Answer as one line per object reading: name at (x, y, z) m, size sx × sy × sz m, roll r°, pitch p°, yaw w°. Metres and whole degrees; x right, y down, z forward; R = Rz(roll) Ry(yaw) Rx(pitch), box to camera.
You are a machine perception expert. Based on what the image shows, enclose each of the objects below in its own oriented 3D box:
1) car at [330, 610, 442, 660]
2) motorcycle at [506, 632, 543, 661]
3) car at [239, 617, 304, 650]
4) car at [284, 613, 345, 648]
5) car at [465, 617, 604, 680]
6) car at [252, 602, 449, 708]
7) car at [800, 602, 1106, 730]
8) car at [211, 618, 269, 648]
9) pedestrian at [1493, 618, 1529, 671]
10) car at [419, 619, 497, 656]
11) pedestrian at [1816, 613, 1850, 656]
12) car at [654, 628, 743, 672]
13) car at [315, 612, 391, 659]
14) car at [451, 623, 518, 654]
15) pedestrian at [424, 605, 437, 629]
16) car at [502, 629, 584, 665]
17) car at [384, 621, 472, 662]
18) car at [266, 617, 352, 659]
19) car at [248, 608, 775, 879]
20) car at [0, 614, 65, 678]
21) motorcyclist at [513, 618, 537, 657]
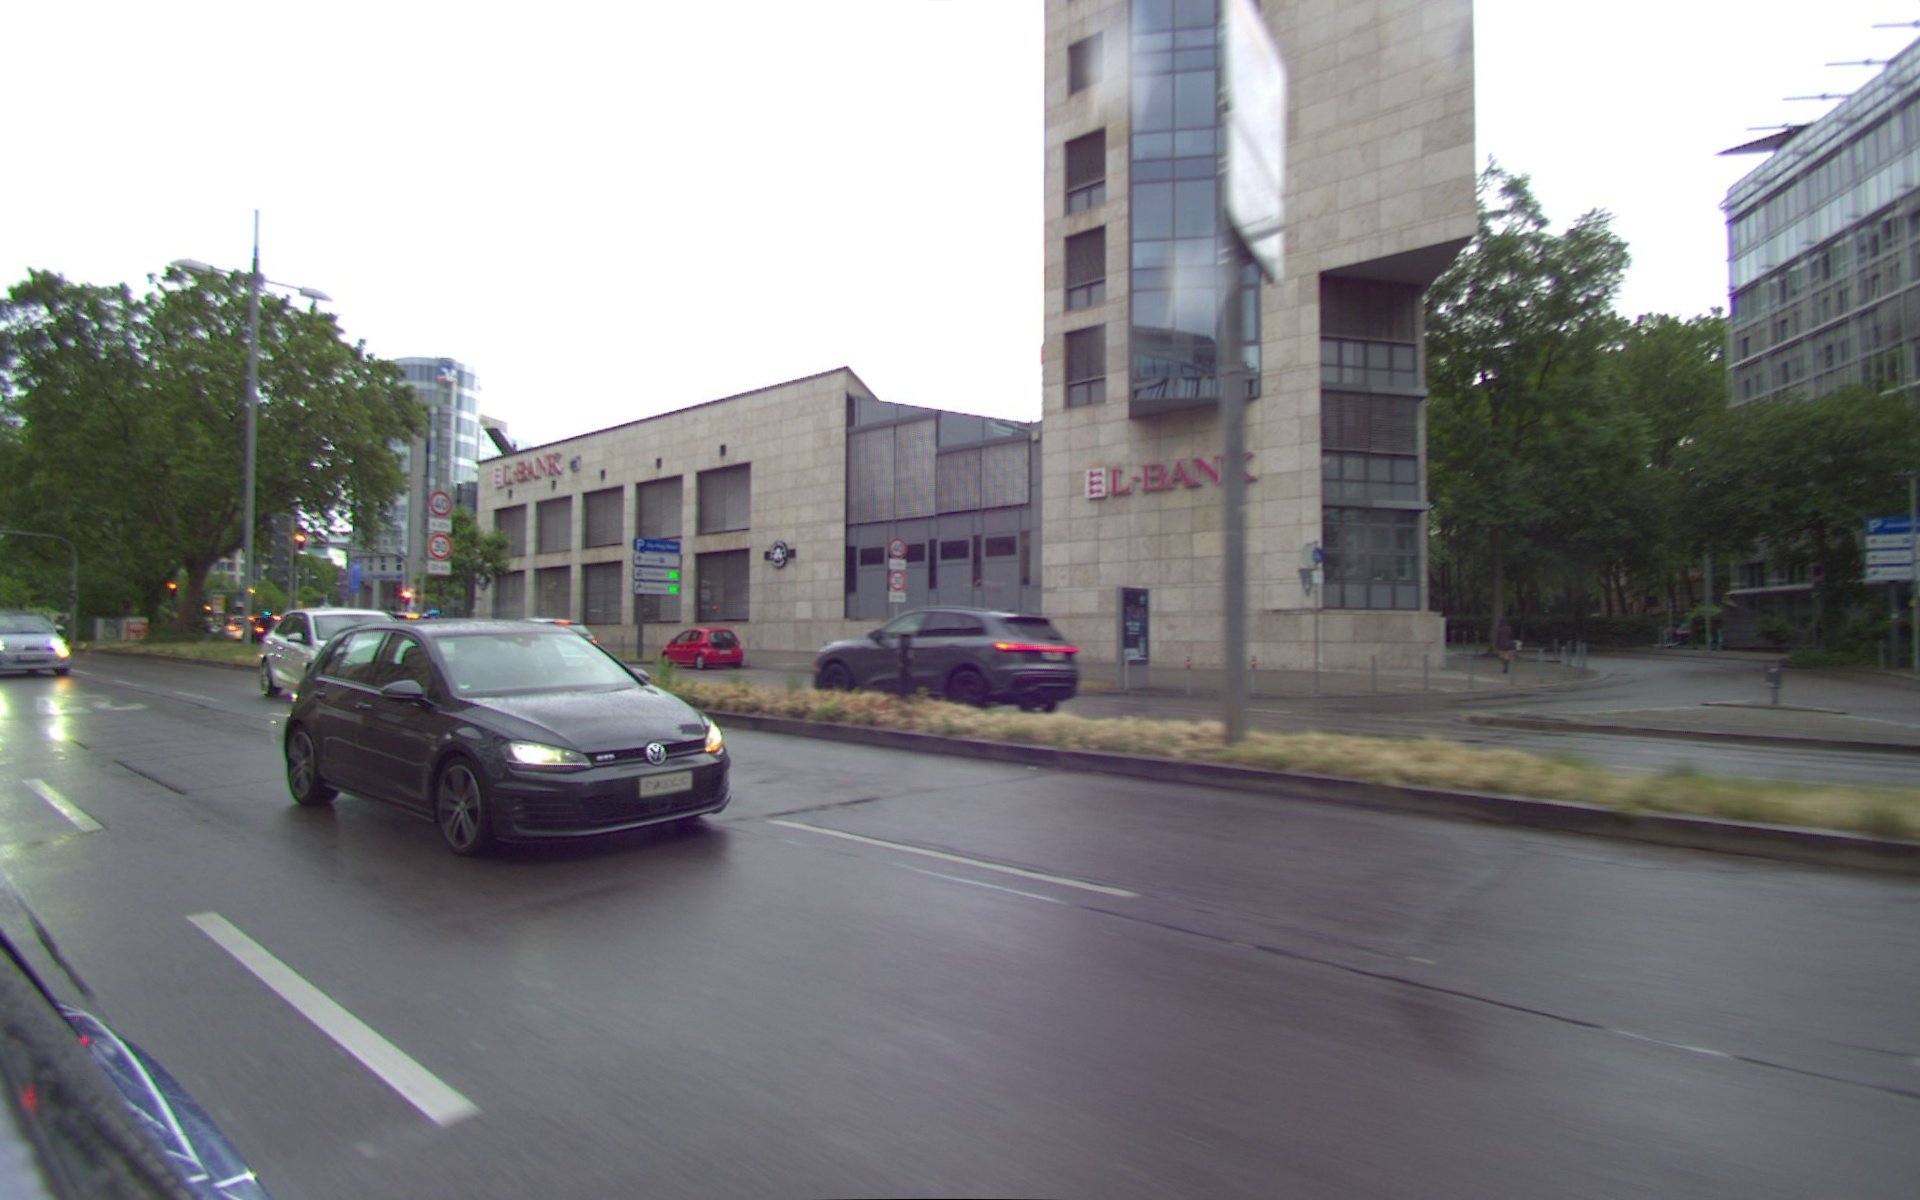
car at (-18.279, 1.090, 32.137) m, size 4.581 × 1.448 × 1.682 m, roll 0°, pitch -2°, yaw 42°
motorcycle at (-17.556, 1.877, 40.768) m, size 2.032 × 1.139 × 0.543 m, roll -2°, pitch -3°, yaw 42°
car at (-30.392, 1.465, 44.653) m, size 1.727 × 1.375 × 3.947 m, roll 3°, pitch -2°, yaw -44°
car at (-32.518, 1.502, 50.931) m, size 1.809 × 1.652 × 4.095 m, roll 3°, pitch -2°, yaw -44°
car at (-10.500, 1.142, 24.840) m, size 4.117 × 1.370 × 1.579 m, roll 0°, pitch -2°, yaw 43°
car at (-10.549, 0.858, 17.413) m, size 3.998 × 1.608 × 1.758 m, roll 0°, pitch -1°, yaw 41°
car at (-0.236, 0.903, 15.670) m, size 4.678 × 1.693 × 1.854 m, roll 0°, pitch -2°, yaw 41°
car at (-35.431, 1.595, 49.793) m, size 1.727 × 1.375 × 4.134 m, roll 3°, pitch -2°, yaw -44°
pedestrian at (16.845, 1.364, 30.941) m, size 0.815 × 1.582 × 0.664 m, roll -1°, pitch -2°, yaw 19°
car at (-22.851, 1.692, 46.001) m, size 4.642 × 1.544 × 1.707 m, roll 0°, pitch -2°, yaw 44°
pedestrian at (33.384, 1.318, 38.713) m, size 0.738 × 1.643 × 0.653 m, roll -1°, pitch -2°, yaw 19°
car at (-9.364, 1.746, 36.136) m, size 1.574 × 1.426 × 3.403 m, roll 3°, pitch -2°, yaw -44°
car at (-27.661, 1.581, 46.029) m, size 1.809 × 2.017 × 5.108 m, roll 3°, pitch -2°, yaw -44°
car at (-23.530, 1.873, 50.037) m, size 1.726 × 1.426 × 4.297 m, roll 3°, pitch -2°, yaw -44°
pedestrian at (-42.312, 1.349, 80.909) m, size 1.125 × 1.939 × 0.582 m, roll -1°, pitch -1°, yaw 41°
car at (-18.678, 2.073, 45.248) m, size 1.727 × 1.426 × 4.708 m, roll 3°, pitch -2°, yaw -44°
car at (-20.695, 1.583, 39.287) m, size 4.397 × 1.443 × 1.707 m, roll 0°, pitch -2°, yaw 44°
car at (-25.630, 1.471, 39.794) m, size 4.315 × 1.453 × 1.839 m, roll 0°, pitch -4°, yaw 44°
car at (-3.432, 0.815, 7.442) m, size 4.116 × 1.463 × 1.768 m, roll -1°, pitch -2°, yaw 37°
car at (-23.010, 1.063, 24.339) m, size 3.489 × 1.452 × 1.593 m, roll -1°, pitch -1°, yaw 38°
motorcyclist at (-17.518, 1.513, 40.745) m, size 0.973 × 1.541 × 0.514 m, roll -2°, pitch -3°, yaw 43°
